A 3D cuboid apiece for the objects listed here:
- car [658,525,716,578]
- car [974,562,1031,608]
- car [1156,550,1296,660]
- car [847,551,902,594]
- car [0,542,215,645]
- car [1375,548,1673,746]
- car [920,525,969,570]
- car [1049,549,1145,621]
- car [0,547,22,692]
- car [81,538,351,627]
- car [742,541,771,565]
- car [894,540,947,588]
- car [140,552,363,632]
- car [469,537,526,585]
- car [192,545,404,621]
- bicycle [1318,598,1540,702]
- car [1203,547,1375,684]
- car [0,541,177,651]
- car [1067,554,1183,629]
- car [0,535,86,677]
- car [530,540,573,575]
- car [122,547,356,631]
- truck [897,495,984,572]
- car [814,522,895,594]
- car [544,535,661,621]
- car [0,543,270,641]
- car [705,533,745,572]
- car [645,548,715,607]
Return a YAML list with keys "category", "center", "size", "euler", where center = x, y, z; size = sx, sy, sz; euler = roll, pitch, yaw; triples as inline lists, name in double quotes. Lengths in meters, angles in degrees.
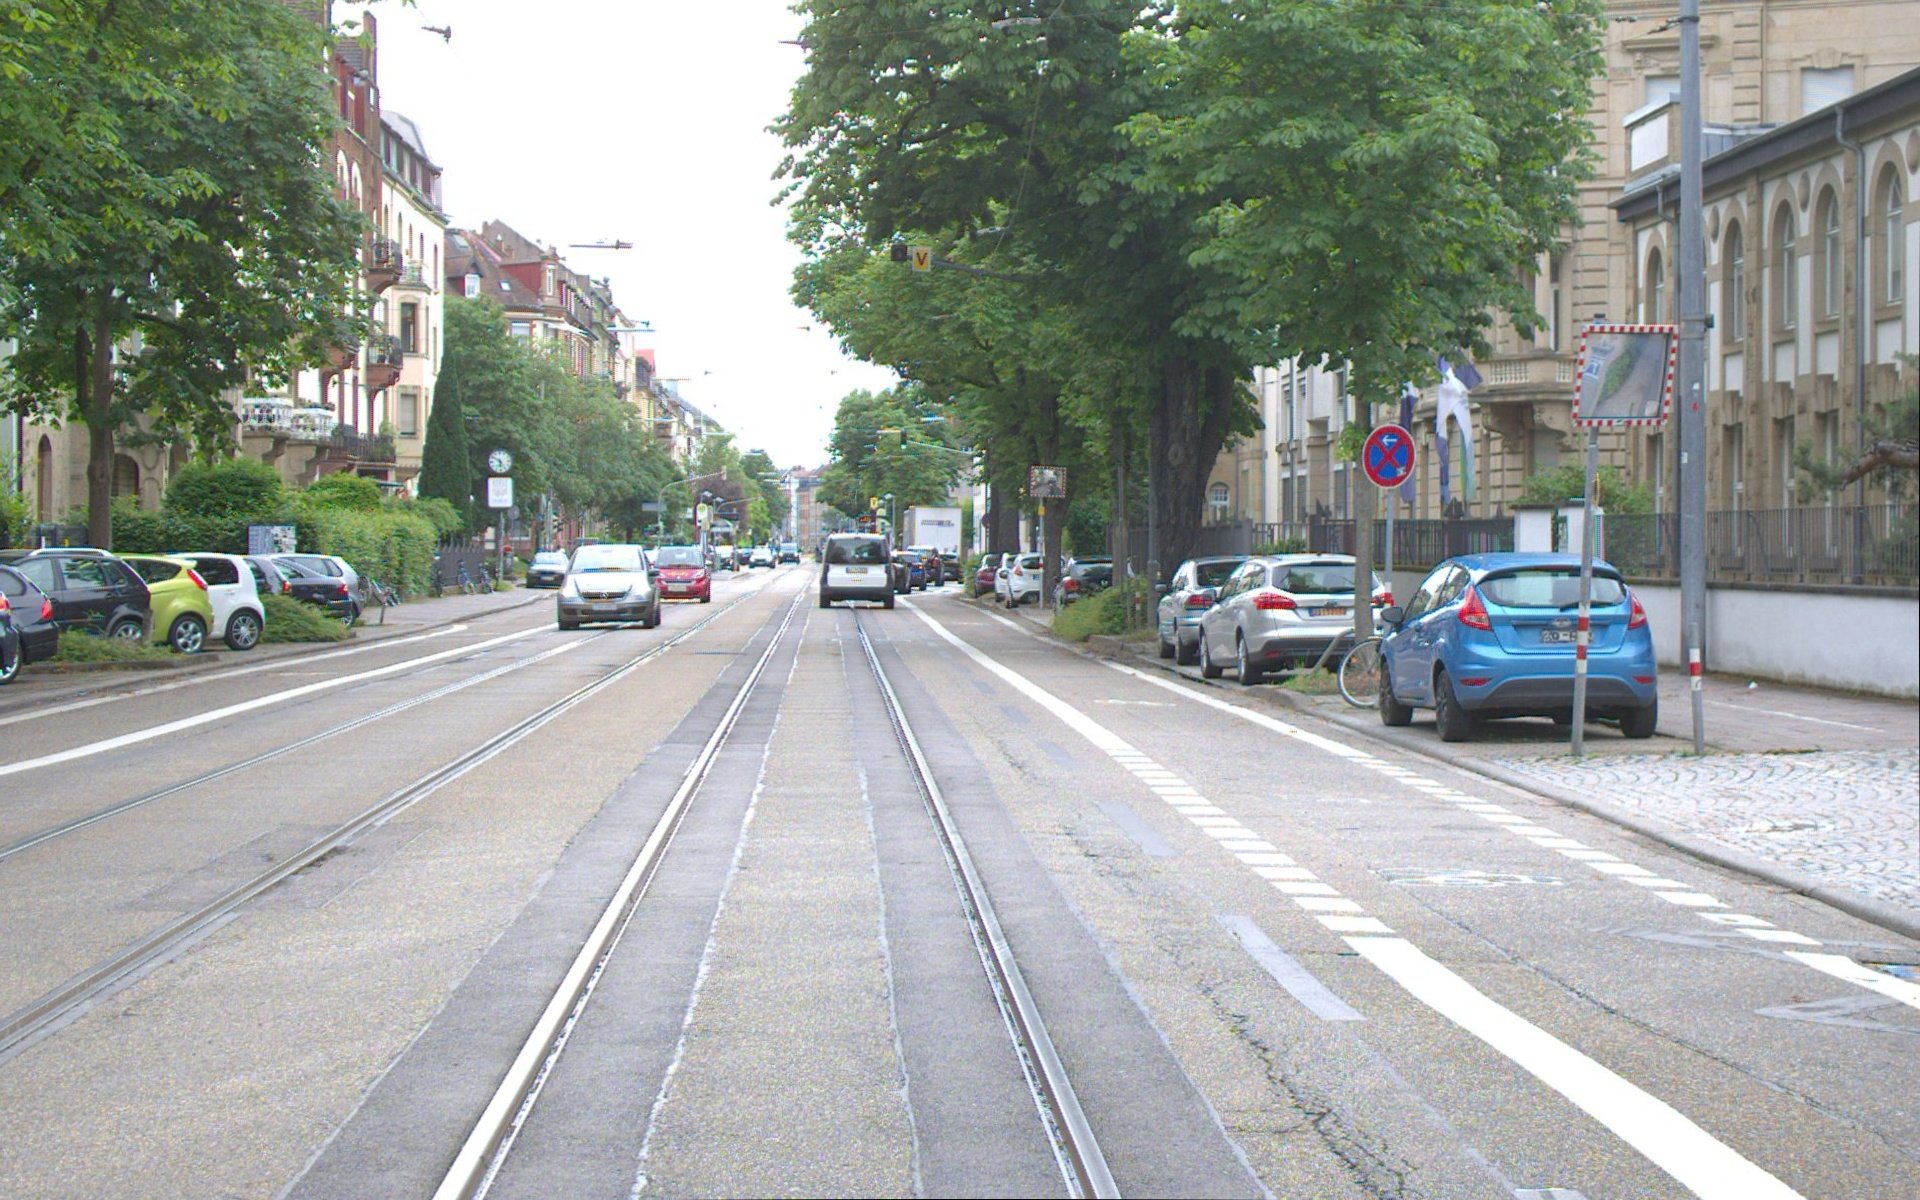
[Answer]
- category: "car"
  center: [-12.509, -2.228, 157.547]
  size: [2.205, 2.409, 4.000]
  euler: [0, 1, 2]
- category: "car"
  center: [1.320, -0.477, 108.466]
  size: [1.770, 1.394, 3.795]
  euler: [0, 1, 0]
- category: "car"
  center: [3.589, 0.037, 46.844]
  size: [1.475, 1.424, 3.566]
  euler: [0, 1, -2]
- category: "car"
  center: [-2.873, -0.946, 116.306]
  size: [1.770, 1.394, 3.795]
  euler: [0, 1, 0]
- category: "car"
  center: [-12.324, -0.094, 46.866]
  size: [1.699, 1.347, 3.958]
  euler: [2, 1, 43]
- category: "car"
  center: [4.470, 0.330, 27.698]
  size: [1.674, 1.455, 3.433]
  euler: [1, 1, -3]
- category: "car"
  center: [-0.723, -2.391, 156.419]
  size: [1.993, 2.007, 4.001]
  euler: [0, 1, -4]
- category: "car"
  center: [2.749, -0.324, 69.504]
  size: [1.791, 1.394, 3.795]
  euler: [0, 1, 0]
- category: "car"
  center: [-11.596, 0.165, 33.776]
  size: [1.699, 1.449, 4.335]
  euler: [2, 1, 43]
- category: "car"
  center: [-11.897, -0.268, 55.150]
  size: [1.699, 1.347, 3.958]
  euler: [2, 1, 43]
- category: "car"
  center: [-14.623, -3.392, 247.405]
  size: [1.772, 1.638, 3.566]
  euler: [0, 1, 2]
- category: "car"
  center: [-1.506, -1.392, 131.684]
  size: [1.993, 1.787, 4.000]
  euler: [0, 1, -1]
- category: "car"
  center: [-13.089, -0.145, 63.541]
  size: [3.707, 1.381, 1.700]
  euler: [1, 1, -26]
- category: "car"
  center: [-21.821, -1.864, 162.410]
  size: [2.177, 2.199, 4.219]
  euler: [0, 1, -1]
- category: "car"
  center: [-12.900, -0.322, 66.988]
  size: [3.707, 1.381, 1.700]
  euler: [1, 1, -26]
- category: "bicycle"
  center: [4.429, 0.465, 32.494]
  size: [2.012, 0.953, 0.534]
  euler: [0, 1, -5]
- category: "car"
  center: [3.758, 0.142, 39.736]
  size: [1.475, 1.476, 3.566]
  euler: [1, 1, -3]
- category: "car"
  center: [-12.121, -0.066, 43.626]
  size: [1.699, 1.347, 3.958]
  euler: [2, 1, 43]
- category: "car"
  center: [2.889, -0.169, 60.831]
  size: [1.873, 1.247, 4.000]
  euler: [0, 1, 0]
- category: "car"
  center: [-11.811, 0.037, 37.158]
  size: [1.699, 1.530, 4.335]
  euler: [2, 1, 43]
- category: "car"
  center: [-16.330, -1.707, 137.514]
  size: [1.641, 1.349, 3.878]
  euler: [0, 1, -5]
- category: "car"
  center: [-12.722, -0.194, 60.690]
  size: [3.707, 1.381, 1.700]
  euler: [1, 1, -26]
- category: "truck"
  center: [-1.118, -3.565, 185.305]
  size: [3.807, 4.015, 10.220]
  euler: [0, 1, -5]
- category: "car"
  center: [-2.569, -1.014, 84.476]
  size: [1.812, 1.702, 3.699]
  euler: [1, 0, 0]
- category: "car"
  center: [-6.646, -0.430, 64.210]
  size: [1.900, 1.525, 3.755]
  euler: [-1, 1, -2]
- category: "car"
  center: [-12.185, -0.116, 49.969]
  size: [1.699, 1.347, 3.958]
  euler: [2, 1, 43]
- category: "car"
  center: [-13.799, -2.800, 201.854]
  size: [2.205, 2.248, 4.001]
  euler: [0, 1, -2]
- category: "car"
  center: [-7.392, -0.598, 90.912]
  size: [1.676, 1.517, 2.782]
  euler: [1, 0, -2]
